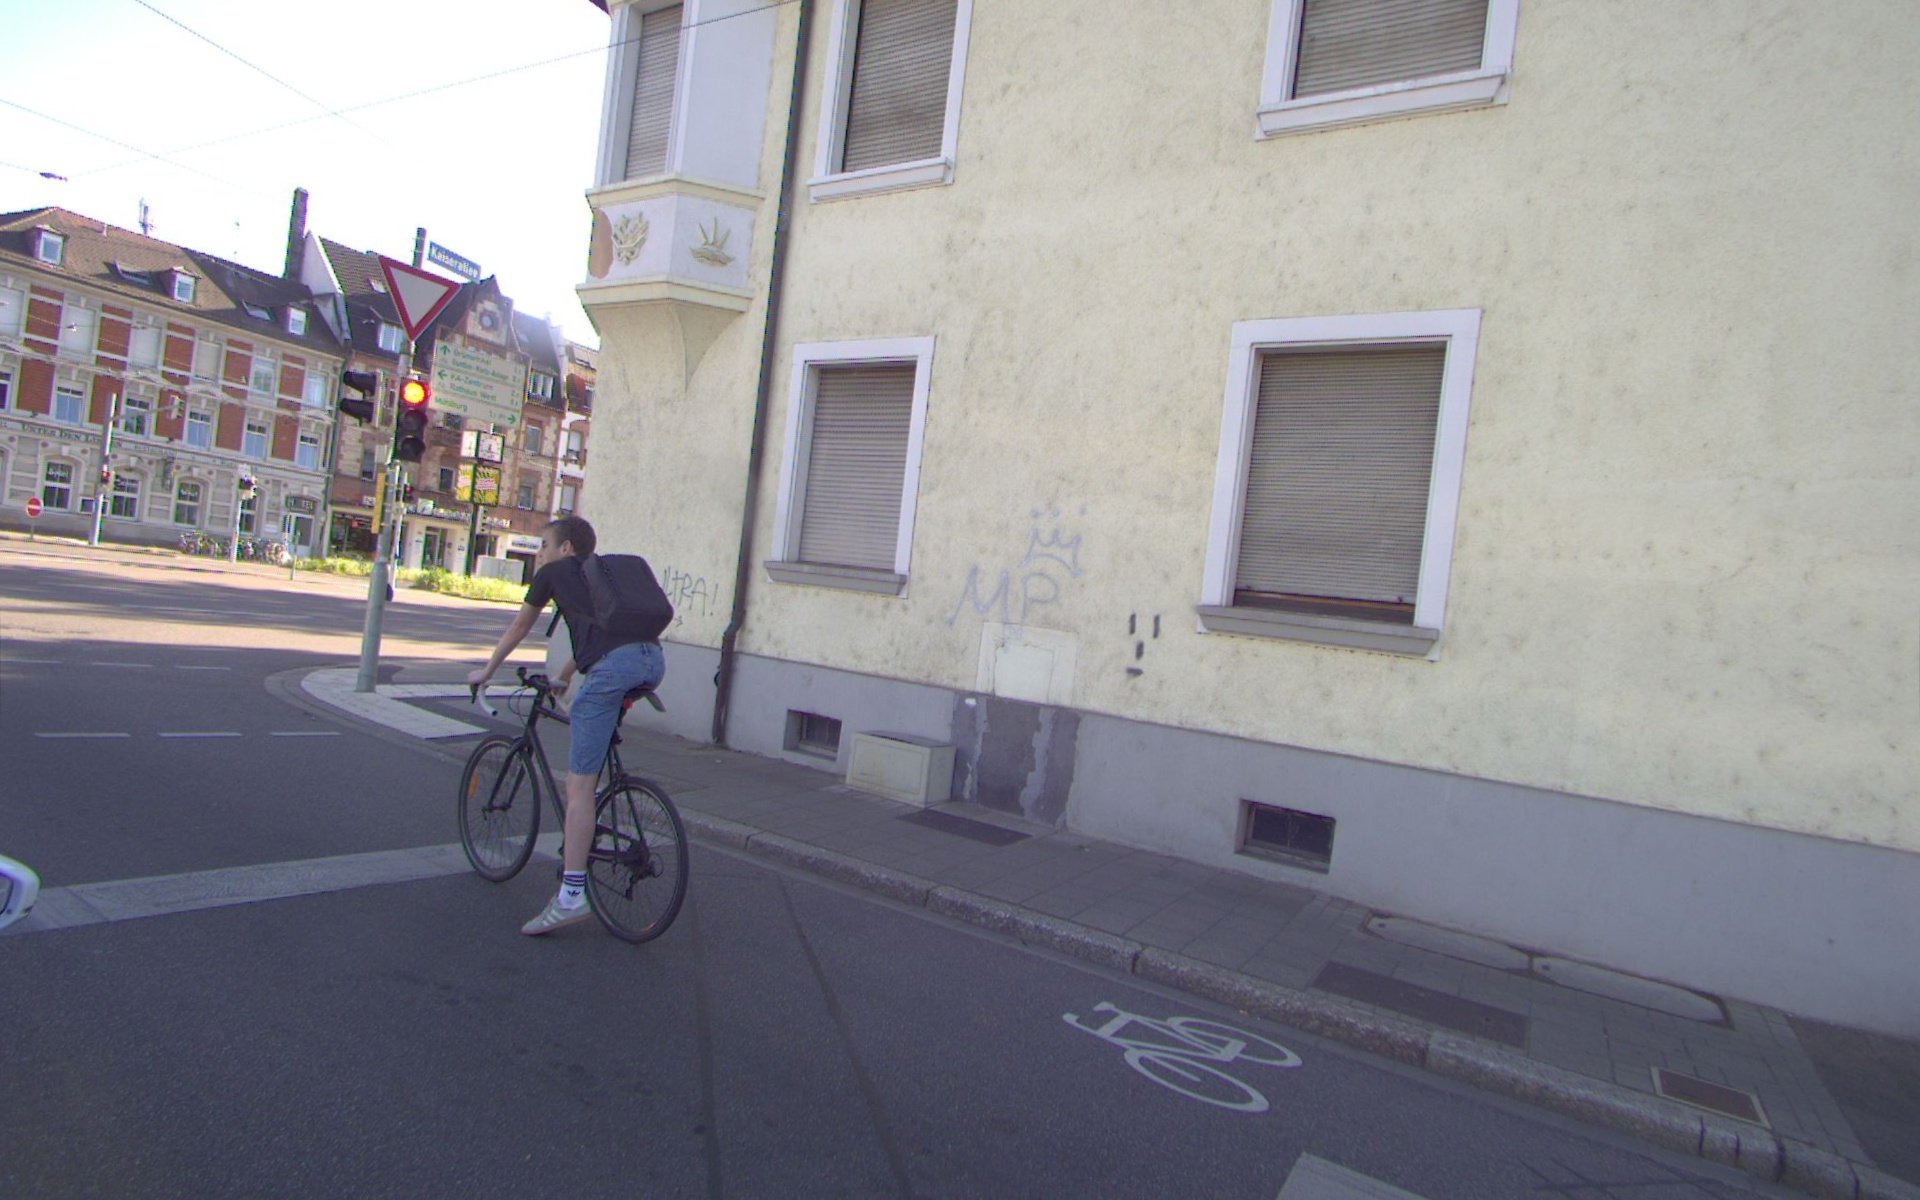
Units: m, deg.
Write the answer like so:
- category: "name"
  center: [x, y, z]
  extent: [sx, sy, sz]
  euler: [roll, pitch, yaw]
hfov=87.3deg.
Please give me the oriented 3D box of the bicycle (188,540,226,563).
- category: "bicycle"
  center: [-34.553, -2.234, 46.144]
  extent: [2.125, 0.850, 0.659]
  euler: [6, -2, 33]

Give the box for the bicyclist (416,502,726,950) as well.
- category: "bicyclist"
  center: [-1.743, 0.491, 4.485]
  extent: [1.098, 1.722, 0.573]
  euler: [7, 0, 32]

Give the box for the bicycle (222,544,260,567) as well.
- category: "bicycle"
  center: [-33.845, -2.092, 47.362]
  extent: [2.125, 0.850, 0.659]
  euler: [6, -2, 33]

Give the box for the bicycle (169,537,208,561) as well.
- category: "bicycle"
  center: [-34.869, -2.302, 45.477]
  extent: [2.125, 0.850, 0.659]
  euler: [6, -2, 33]

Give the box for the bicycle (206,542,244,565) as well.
- category: "bicycle"
  center: [-34.180, -2.160, 46.766]
  extent: [2.125, 0.850, 0.659]
  euler: [6, -2, 33]

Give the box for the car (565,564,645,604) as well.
- category: "car"
  center: [-23.011, -1.003, 65.324]
  extent: [1.968, 2.038, 4.430]
  euler: [7, -1, 34]

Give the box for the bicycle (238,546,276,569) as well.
- category: "bicycle"
  center: [-33.490, -2.024, 47.892]
  extent: [2.125, 0.850, 0.659]
  euler: [6, -2, 33]

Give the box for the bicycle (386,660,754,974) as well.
- category: "bicycle"
  center: [-1.791, 0.875, 4.506]
  extent: [1.721, 0.982, 0.519]
  euler: [7, 0, 32]

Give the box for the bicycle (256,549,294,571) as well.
- category: "bicycle"
  center: [-33.102, -1.945, 48.597]
  extent: [2.125, 0.850, 0.659]
  euler: [6, -2, 33]
